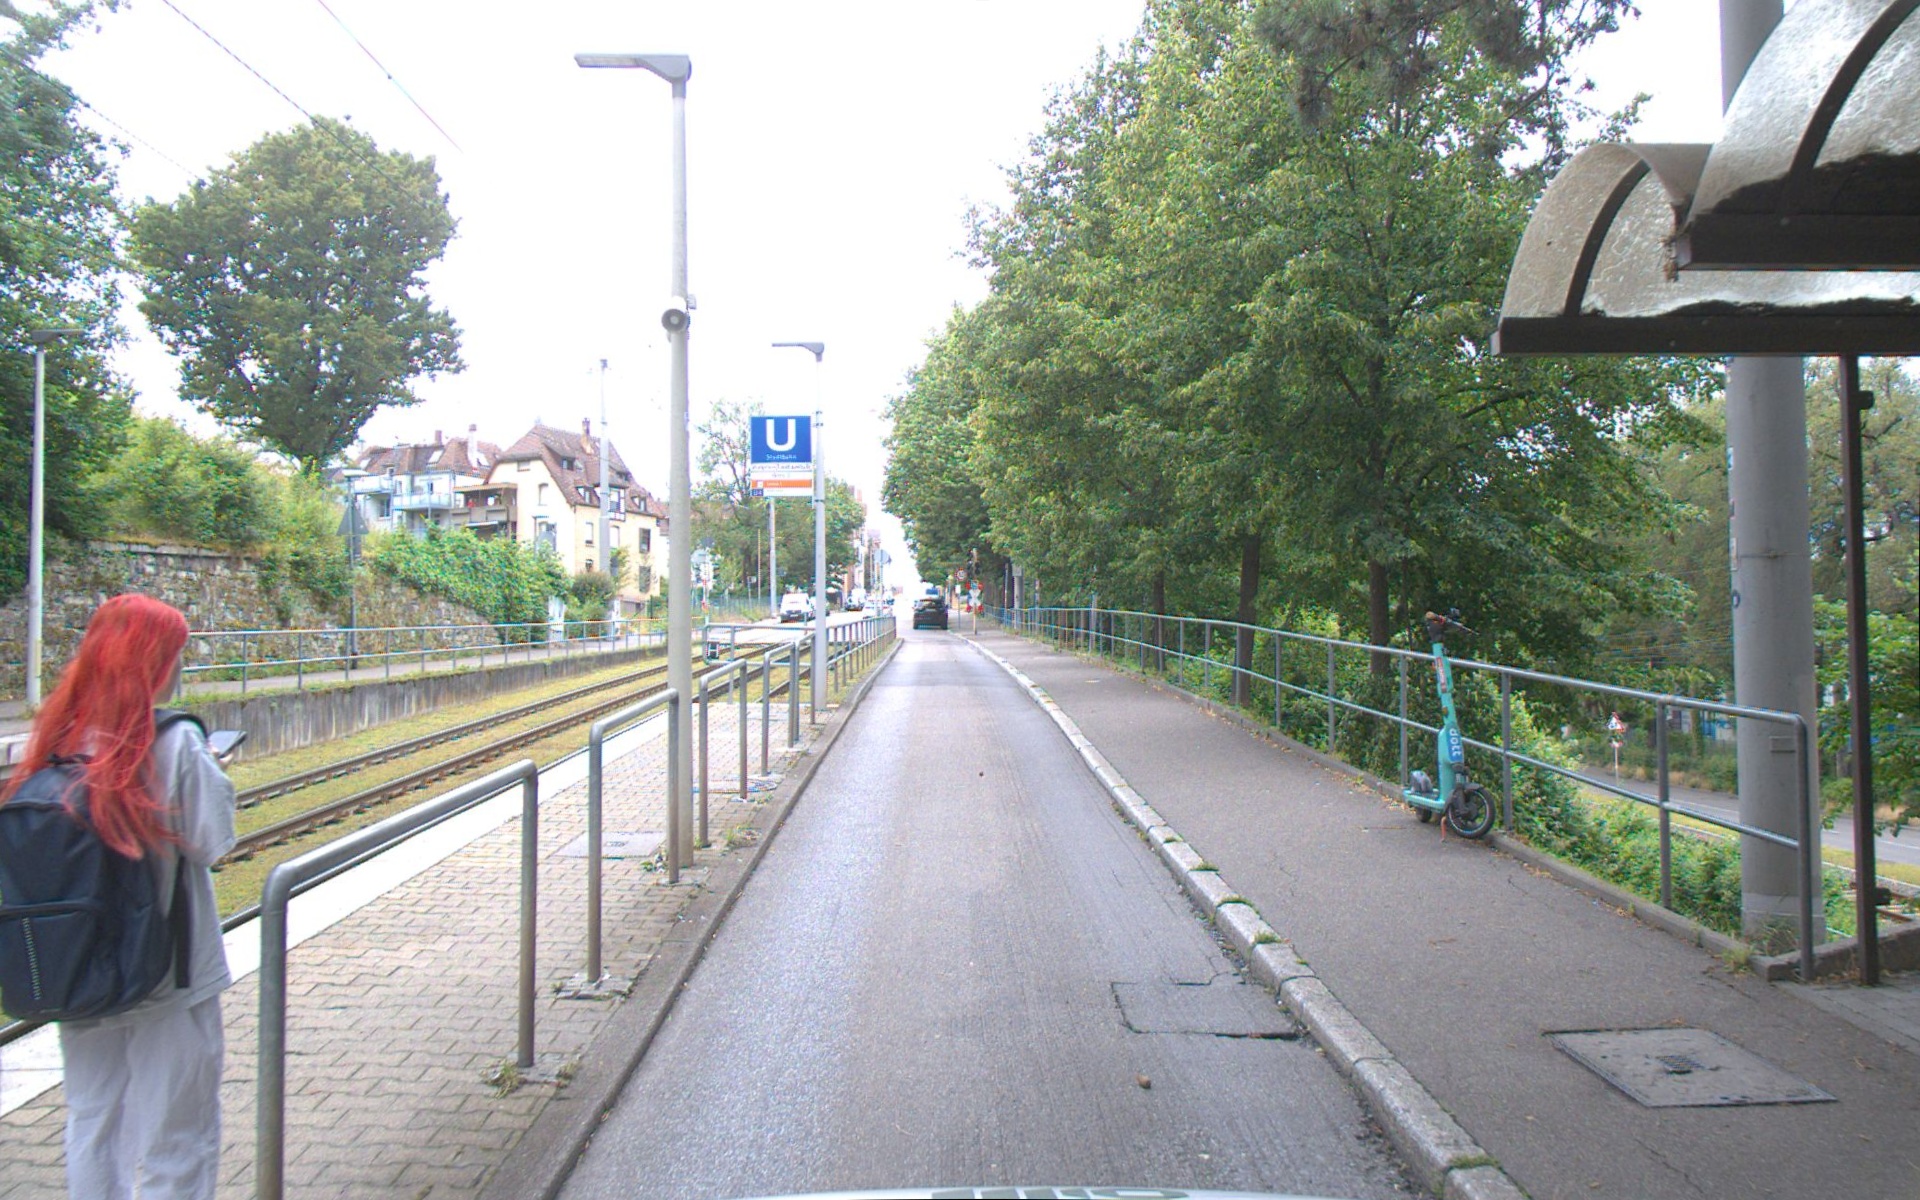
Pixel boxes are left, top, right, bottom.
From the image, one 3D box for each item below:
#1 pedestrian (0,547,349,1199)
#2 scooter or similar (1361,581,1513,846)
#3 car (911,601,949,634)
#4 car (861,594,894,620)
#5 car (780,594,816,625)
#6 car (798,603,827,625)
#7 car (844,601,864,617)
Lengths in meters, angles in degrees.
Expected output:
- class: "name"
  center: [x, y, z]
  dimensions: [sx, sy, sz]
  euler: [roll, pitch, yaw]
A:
- class: "pedestrian"
  center: [-1.638, 0.667, 3.280]
  dimensions: [0.612, 1.528, 0.739]
  euler: [0, 0, -4]
- class: "scooter or similar"
  center: [2.722, 0.616, 9.551]
  dimensions: [0.421, 1.409, 1.455]
  euler: [0, -1, -1]
- class: "car"
  center: [-1.546, 0.889, 86.381]
  dimensions: [1.865, 1.643, 4.600]
  euler: [1, 0, 0]
- class: "car"
  center: [-5.258, 0.484, 105.563]
  dimensions: [1.953, 1.525, 4.310]
  euler: [1, -1, -1]
- class: "car"
  center: [-10.918, 0.676, 111.785]
  dimensions: [1.995, 1.914, 4.882]
  euler: [-3, -1, -2]
- class: "car"
  center: [-11.238, 1.051, 126.184]
  dimensions: [1.847, 1.552, 4.662]
  euler: [-2, -1, -1]
- class: "car"
  center: [-12.291, 1.046, 192.002]
  dimensions: [1.952, 1.840, 4.000]
  euler: [0, -1, 0]
